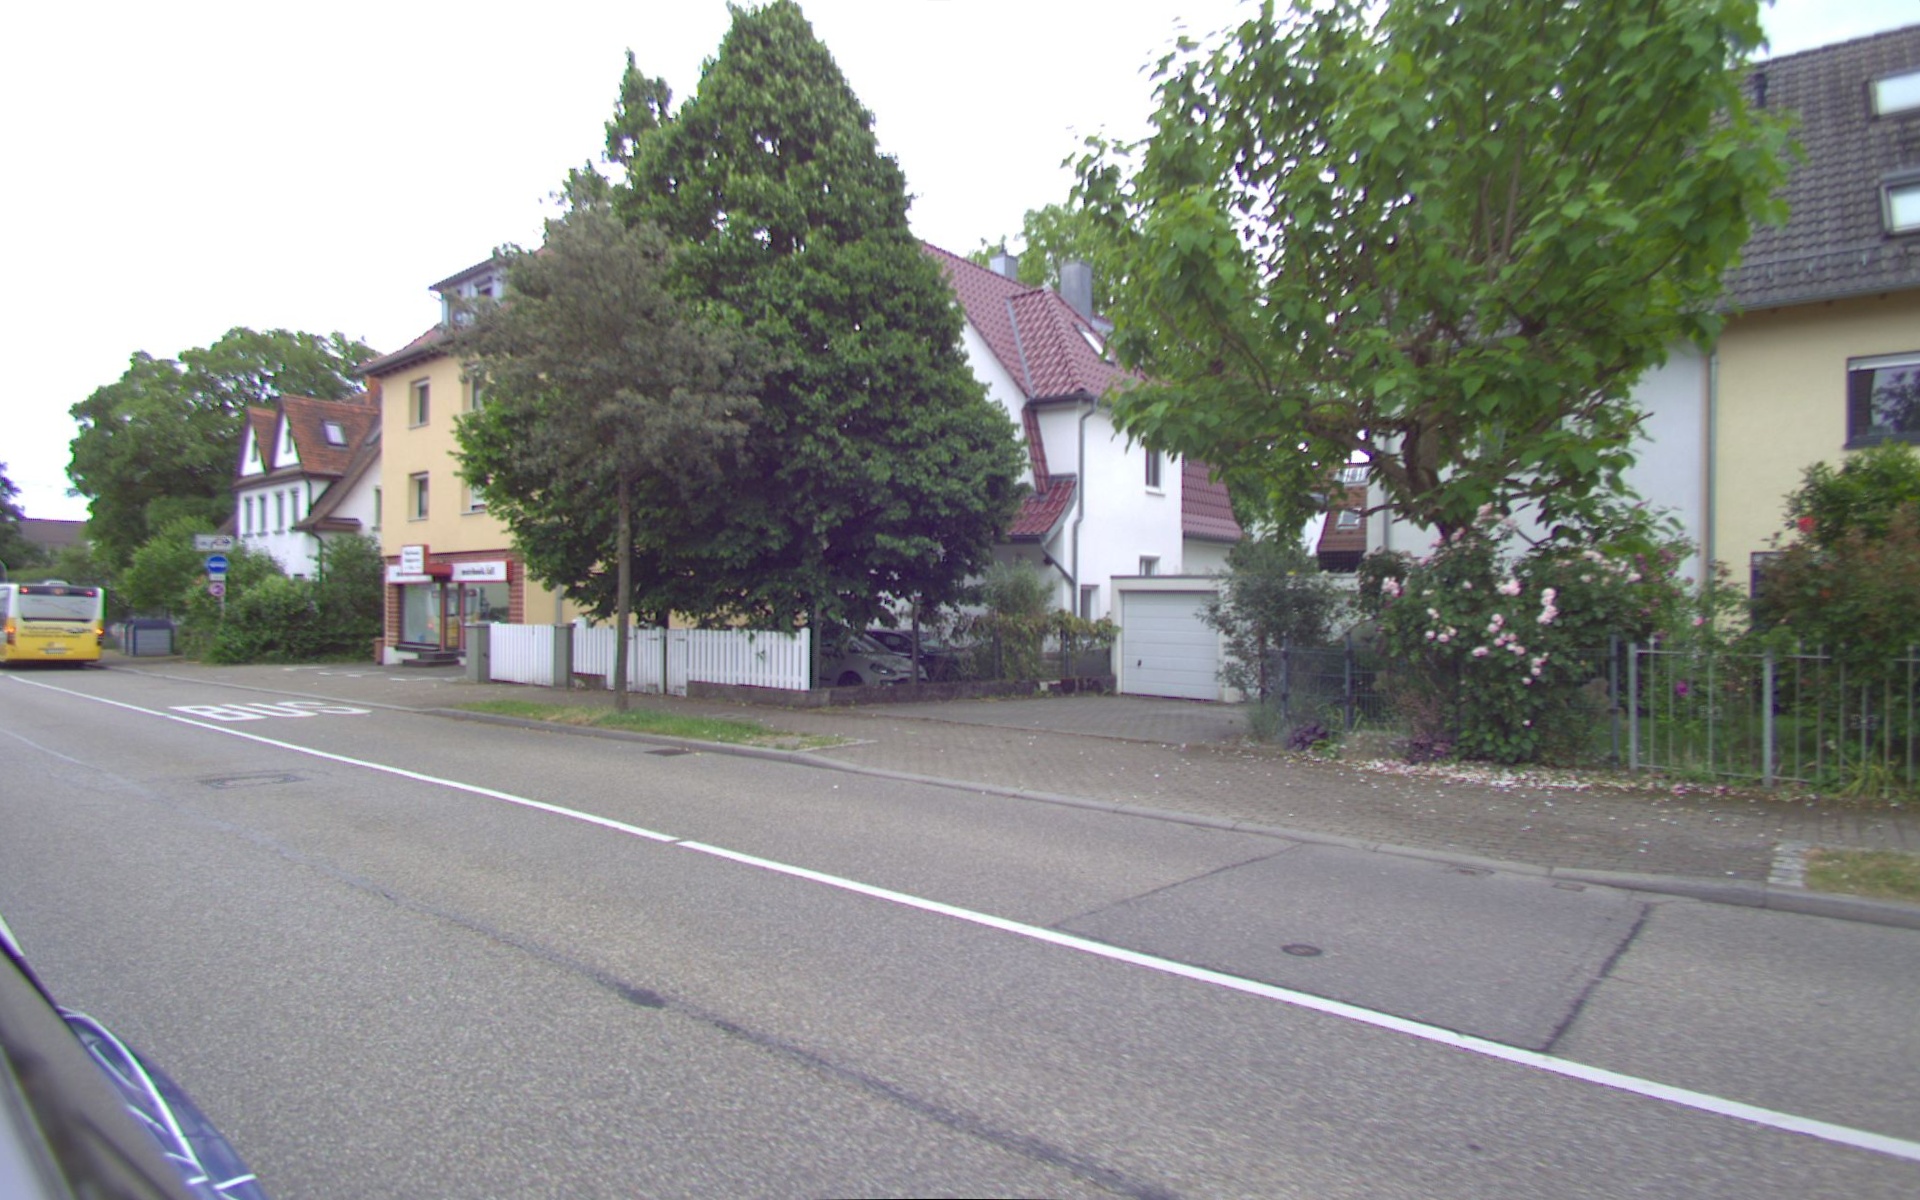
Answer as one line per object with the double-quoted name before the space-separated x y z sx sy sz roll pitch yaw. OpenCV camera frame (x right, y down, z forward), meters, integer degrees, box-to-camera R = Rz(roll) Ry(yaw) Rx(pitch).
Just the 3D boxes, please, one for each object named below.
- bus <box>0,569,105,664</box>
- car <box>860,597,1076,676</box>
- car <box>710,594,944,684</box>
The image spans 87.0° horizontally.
"bus" -34.990 0.645 38.016 12.064 3.109 2.604 -1 -2 41
"car" 0.097 0.852 22.329 4.610 1.576 1.789 -3 -4 37
"car" -2.679 0.760 19.824 4.610 1.576 1.789 -1 -3 37
